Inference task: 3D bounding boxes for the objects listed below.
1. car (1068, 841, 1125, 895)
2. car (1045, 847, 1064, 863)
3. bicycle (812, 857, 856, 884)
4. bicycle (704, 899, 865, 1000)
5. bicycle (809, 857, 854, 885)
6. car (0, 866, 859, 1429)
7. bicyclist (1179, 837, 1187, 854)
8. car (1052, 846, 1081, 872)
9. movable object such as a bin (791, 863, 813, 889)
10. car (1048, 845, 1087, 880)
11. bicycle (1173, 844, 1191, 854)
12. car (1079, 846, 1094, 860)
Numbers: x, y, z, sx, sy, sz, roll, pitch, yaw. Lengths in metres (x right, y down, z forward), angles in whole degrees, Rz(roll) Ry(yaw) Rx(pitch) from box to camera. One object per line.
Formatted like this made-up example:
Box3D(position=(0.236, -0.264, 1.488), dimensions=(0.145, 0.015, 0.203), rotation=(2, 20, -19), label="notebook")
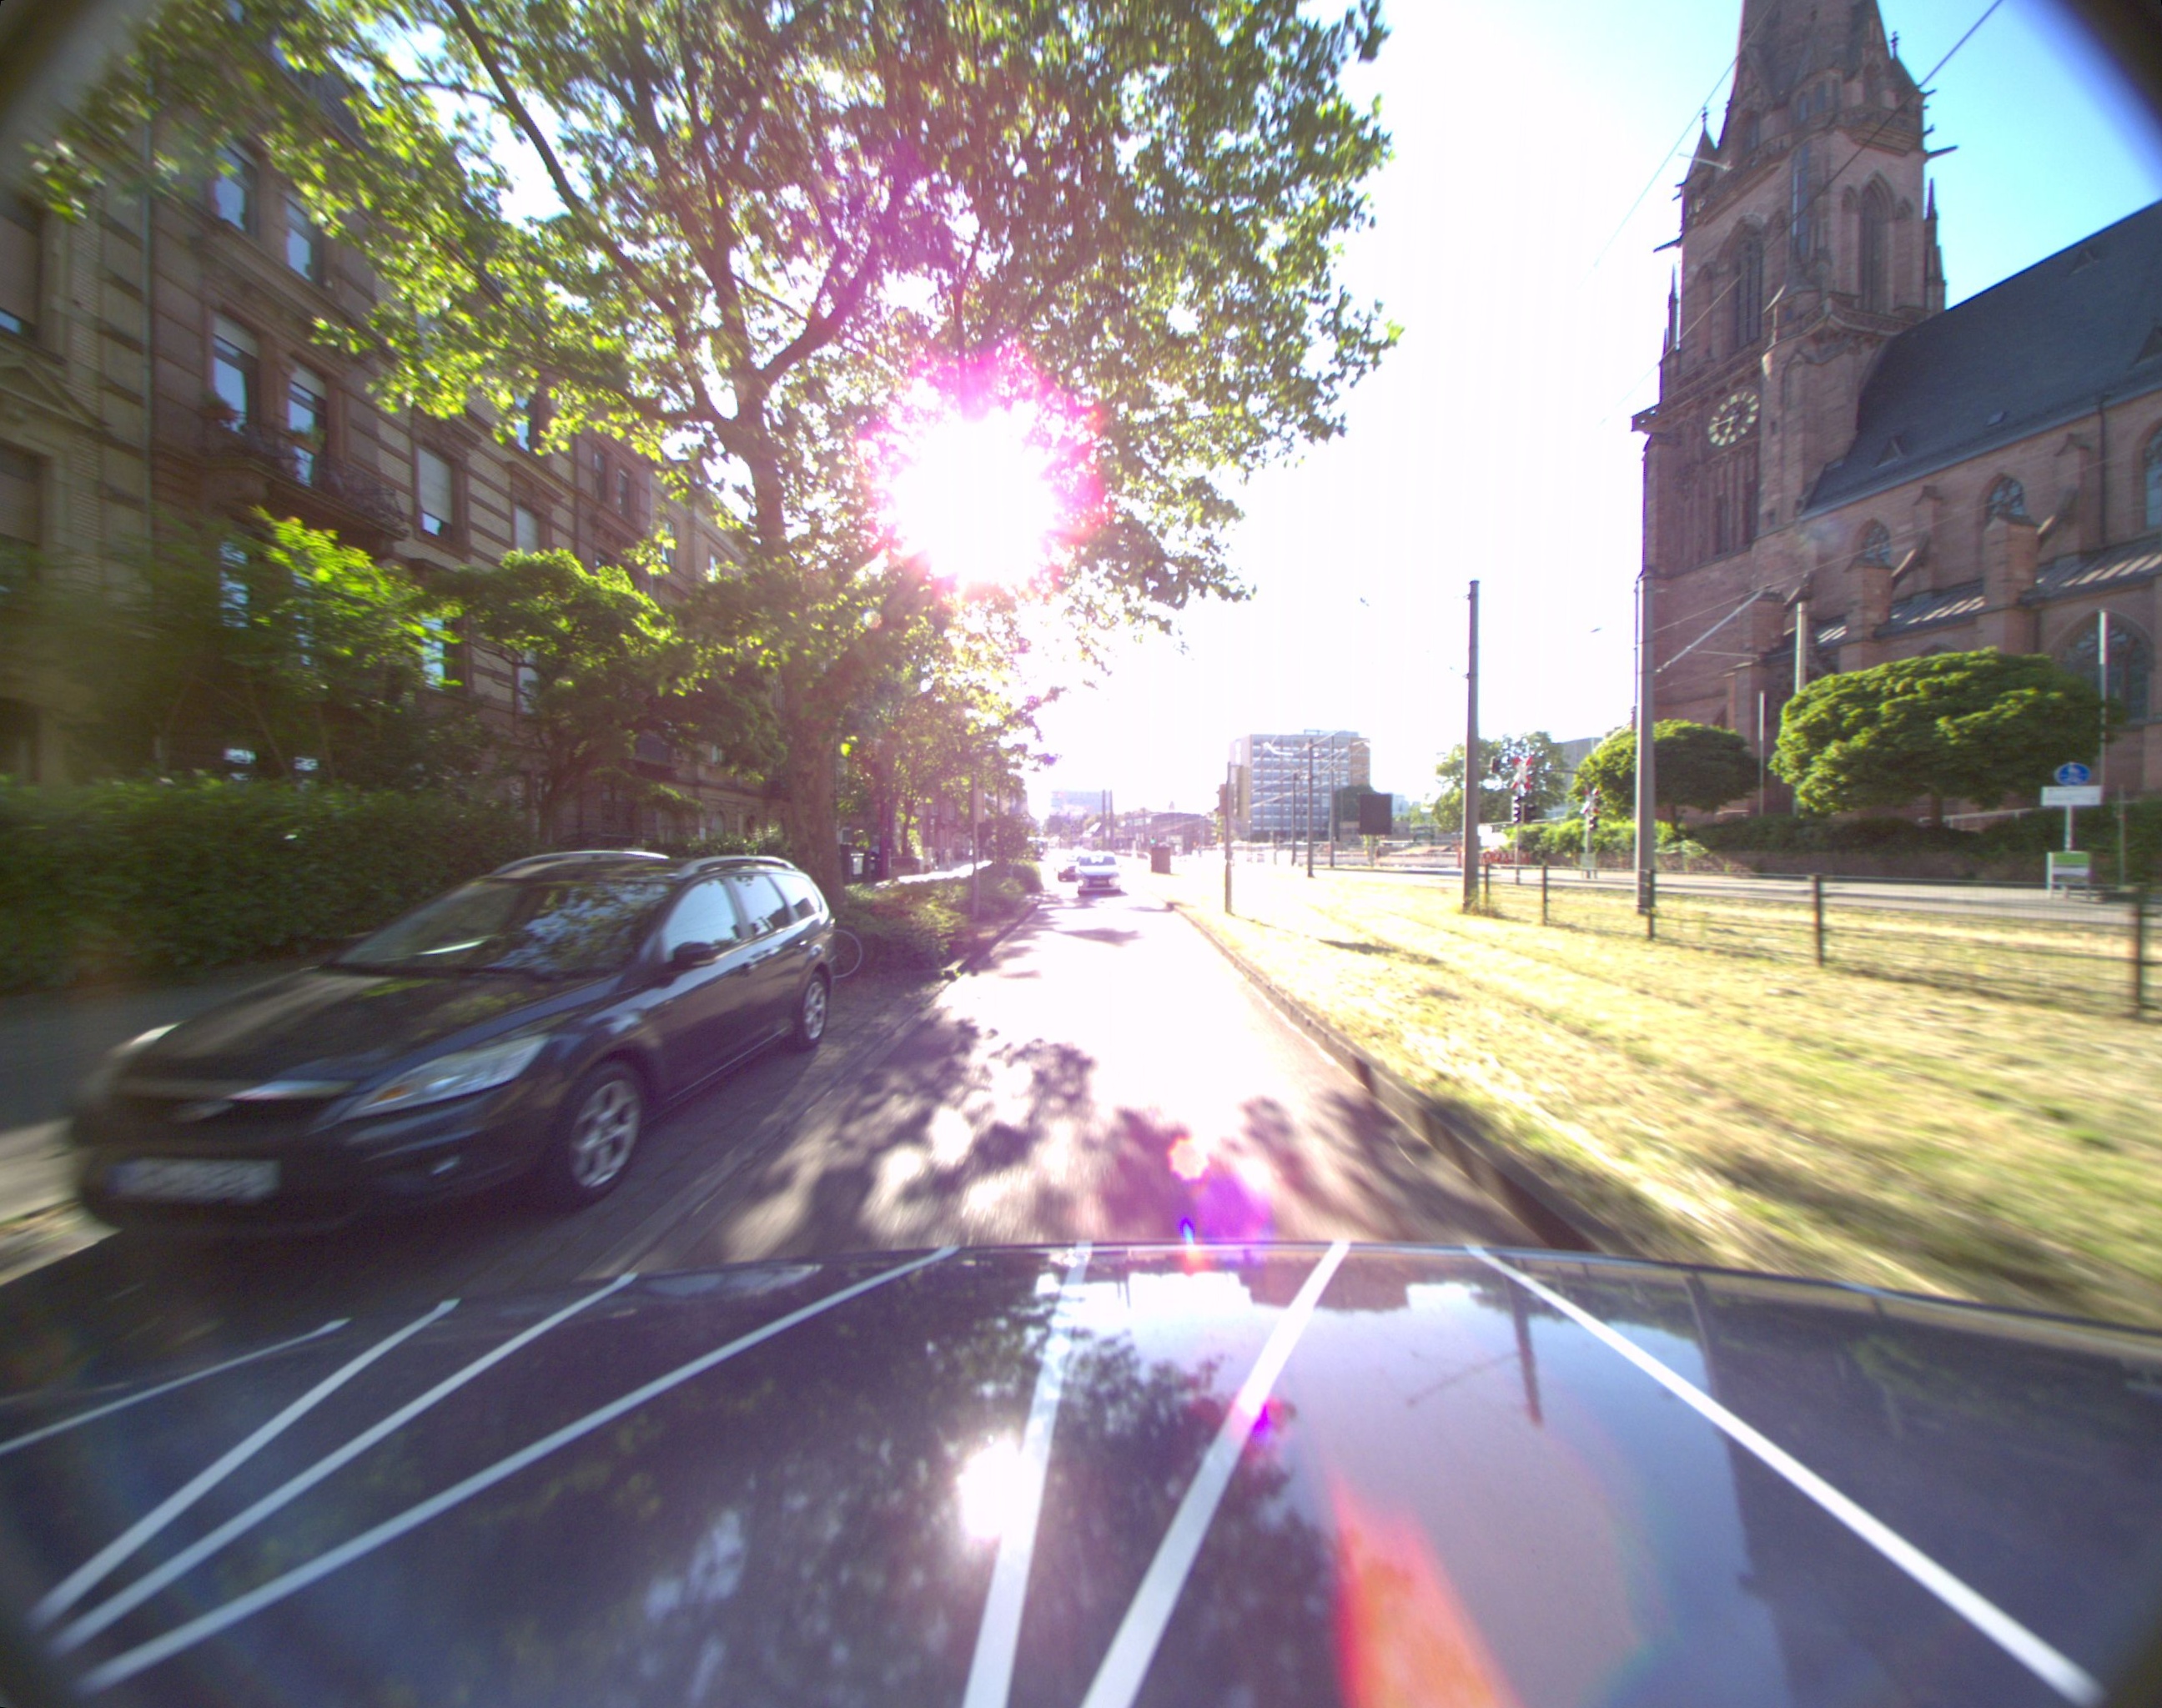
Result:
Box3D(position=(0.538, 0.438, 27.401), dimensions=(1.823, 1.729, 4.000), rotation=(-3, 1, 1), label="car")
Box3D(position=(-2.926, 0.071, 84.354), dimensions=(1.823, 1.605, 4.000), rotation=(-3, 1, 1), label="car")
Box3D(position=(-10.806, 0.702, 33.293), dimensions=(1.737, 1.088, 0.496), rotation=(-3, 1, -13), label="bicycle")
Box3D(position=(-3.350, 1.051, 8.646), dimensions=(1.638, 0.956, 0.337), rotation=(-3, 1, -28), label="bicycle")
Box3D(position=(-10.598, 0.702, 32.297), dimensions=(1.737, 1.088, 0.496), rotation=(-3, 1, -13), label="bicycle")
Box3D(position=(-2.902, 0.900, 4.584), dimensions=(1.680, 1.507, 4.722), rotation=(1, 1, 1), label="car")
Box3D(position=(11.855, -1.006, 88.645), dimensions=(0.775, 1.861, 0.611), rotation=(-2, 1, 17), label="bicyclist")
Box3D(position=(-0.981, 0.308, 52.211), dimensions=(1.823, 1.605, 3.999), rotation=(-3, 1, 0), label="car")
Box3D(position=(-10.211, 0.800, 27.860), dimensions=(0.604, 0.894, 0.717), rotation=(-3, 1, -11), label="movable object such as a bin")
Box3D(position=(-0.630, 0.397, 38.882), dimensions=(1.823, 1.605, 4.000), rotation=(-3, 1, 1), label="car")
Box3D(position=(11.790, -0.602, 88.684), dimensions=(2.063, 1.077, 0.611), rotation=(-2, 1, 17), label="bicycle")
Box3D(position=(0.710, -0.192, 94.387), dimensions=(1.823, 1.605, 4.000), rotation=(-3, 1, 1), label="car")
